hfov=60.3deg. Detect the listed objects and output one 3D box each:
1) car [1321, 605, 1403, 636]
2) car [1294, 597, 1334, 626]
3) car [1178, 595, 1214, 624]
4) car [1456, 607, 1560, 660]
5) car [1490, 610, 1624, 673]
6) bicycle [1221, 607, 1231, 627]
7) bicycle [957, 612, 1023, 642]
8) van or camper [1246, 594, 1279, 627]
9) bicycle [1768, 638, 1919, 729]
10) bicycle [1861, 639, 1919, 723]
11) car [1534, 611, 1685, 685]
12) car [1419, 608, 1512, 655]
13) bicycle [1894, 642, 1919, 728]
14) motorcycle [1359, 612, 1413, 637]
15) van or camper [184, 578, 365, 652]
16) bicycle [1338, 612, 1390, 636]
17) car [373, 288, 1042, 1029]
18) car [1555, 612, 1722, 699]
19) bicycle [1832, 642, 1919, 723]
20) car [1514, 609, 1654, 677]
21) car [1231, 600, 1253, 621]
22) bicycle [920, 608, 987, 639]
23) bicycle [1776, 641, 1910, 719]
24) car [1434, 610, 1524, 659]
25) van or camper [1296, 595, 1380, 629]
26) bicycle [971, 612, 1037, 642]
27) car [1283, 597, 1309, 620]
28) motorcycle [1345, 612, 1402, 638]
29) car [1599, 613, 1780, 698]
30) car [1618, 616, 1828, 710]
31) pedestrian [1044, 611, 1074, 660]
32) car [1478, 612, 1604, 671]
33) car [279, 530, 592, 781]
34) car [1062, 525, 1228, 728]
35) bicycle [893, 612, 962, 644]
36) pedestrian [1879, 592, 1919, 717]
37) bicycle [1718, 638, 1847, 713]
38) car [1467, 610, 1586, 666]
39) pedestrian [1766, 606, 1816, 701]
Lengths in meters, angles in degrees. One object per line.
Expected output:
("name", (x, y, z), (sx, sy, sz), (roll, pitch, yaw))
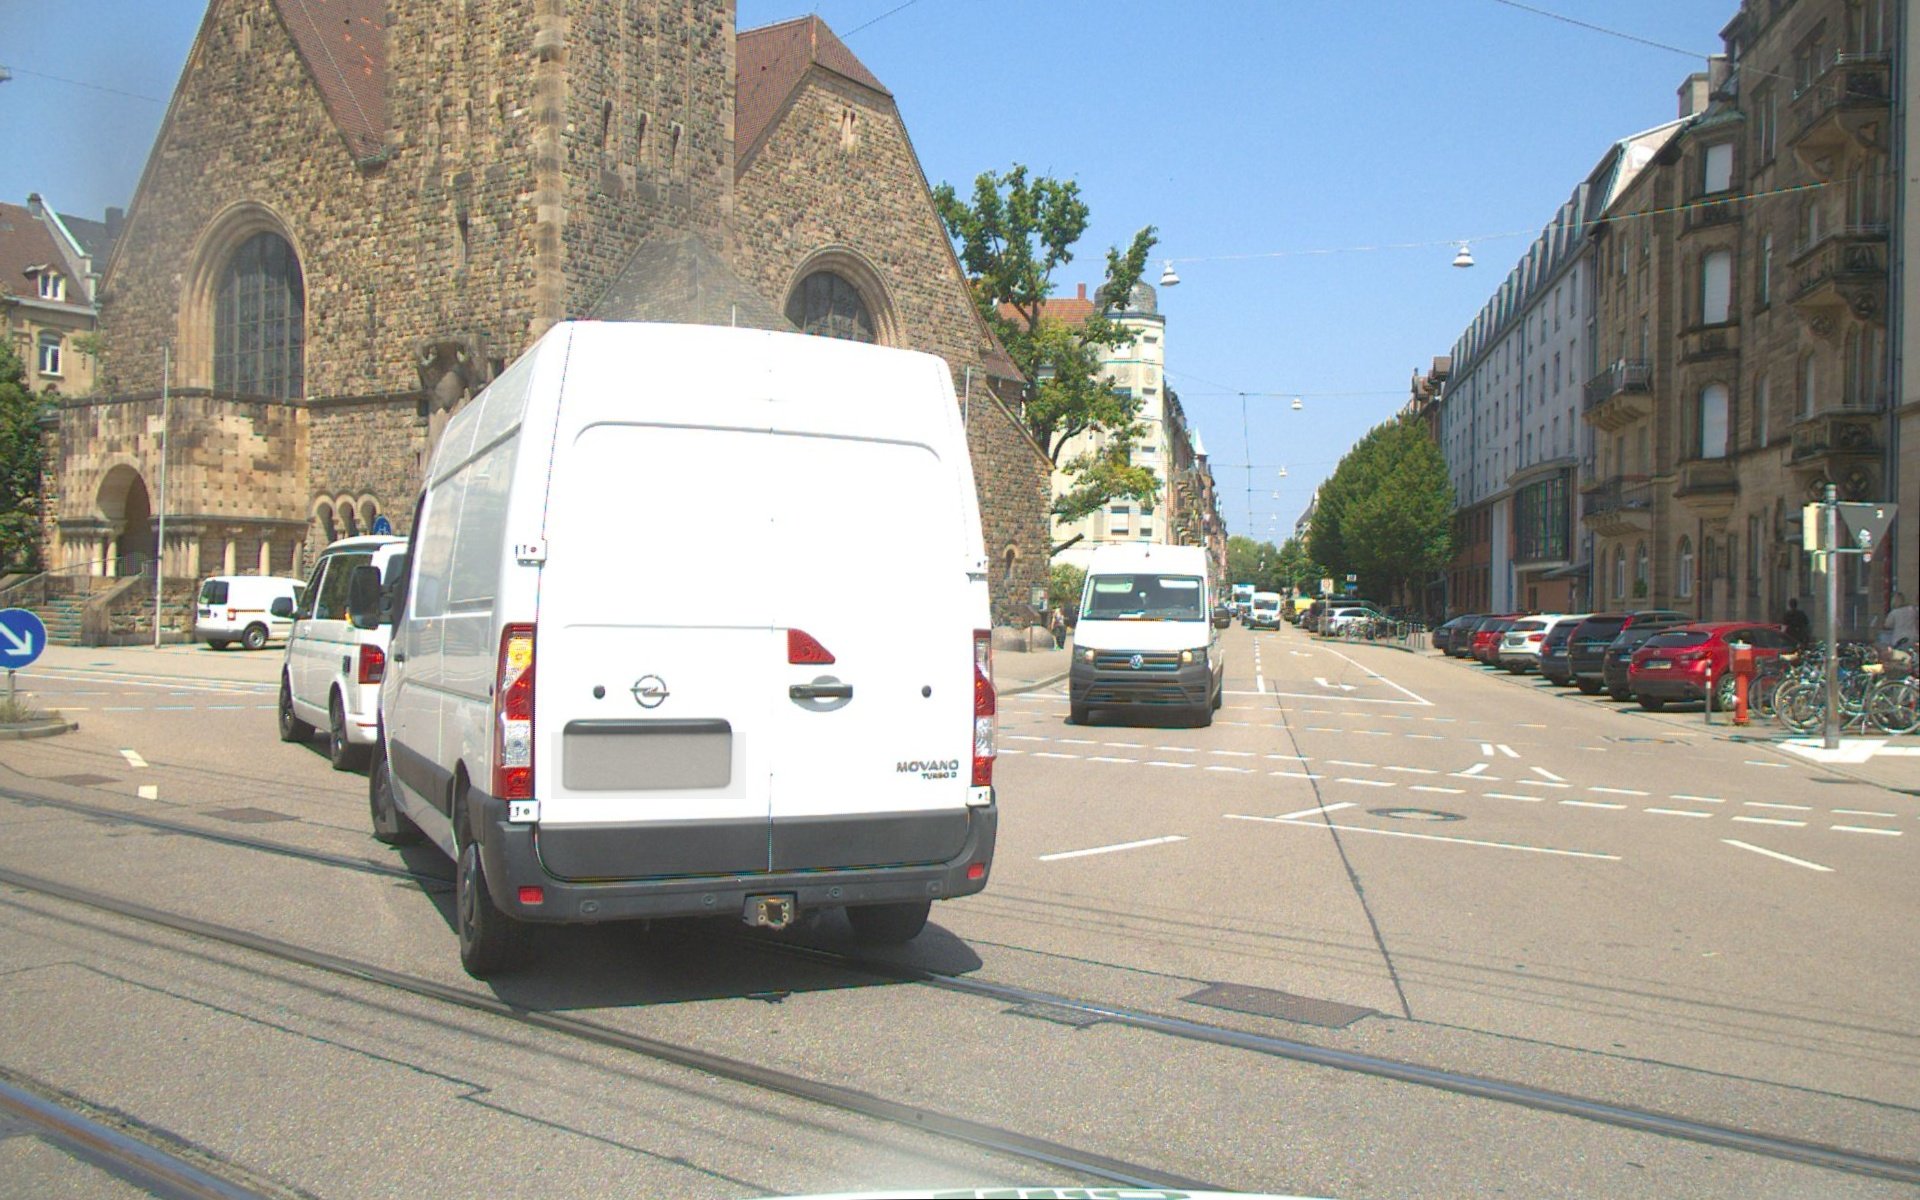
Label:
("car", (21.562, 1.080, 88.725), (3.918, 1.576, 1.744), (1, -1, -14))
("car", (22.532, 0.736, 105.339), (1.913, 1.780, 4.002), (1, 0, 3))
("car", (15.051, 0.608, 105.698), (1.913, 1.780, 4.002), (1, 0, 3))
("car", (17.815, 1.085, 53.732), (3.188, 1.603, 1.597), (-1, -2, -34))
("car", (16.026, 1.105, 44.392), (3.177, 1.603, 1.603), (-1, -2, -26))
("bicycle", (19.076, 1.188, 118.726), (0.658, 1.383, 2.071), (1, 0, 8))
("bicycle", (1.081, 0.973, 59.886), (2.449, 1.029, 0.703), (1, 0, 37))
("van or camper", (20.353, 0.679, 111.468), (1.992, 2.179, 4.583), (1, 0, 8))
("bicycle", (12.236, 1.134, 22.716), (2.012, 1.171, 0.565), (1, 0, 24))
("bicycle", (13.904, 1.152, 23.607), (1.763, 1.171, 0.565), (-1, -1, 24))
("car", (15.100, 1.103, 38.434), (3.181, 1.603, 1.601), (-1, -2, -30))
("car", (18.219, 1.114, 59.556), (3.190, 1.603, 1.596), (0, -2, -36))
("bicycle", (13.836, 1.157, 22.653), (1.763, 1.171, 0.565), (-1, -1, 24))
("motorcycle", (20.990, 1.203, 81.491), (2.535, 1.195, 0.683), (1, -1, 13))
("van or camper", (-17.883, 0.397, 43.312), (1.957, 1.839, 3.990), (0, -1, 32))
("bicycle", (20.768, 1.227, 84.967), (2.545, 1.195, 0.680), (1, -1, -13))
("car", (-1.643, 0.216, 8.325), (2.089, 2.502, 5.017), (1, -1, -24))
("car", (14.284, 1.149, 34.814), (3.181, 1.694, 1.601), (-1, -2, -30))
("bicycle", (13.953, 1.214, 24.510), (1.763, 1.171, 0.565), (-1, -1, 24))
("car", (15.679, 1.064, 41.553), (3.181, 1.603, 1.601), (-1, -2, -30))
("car", (27.792, 1.041, 162.838), (1.951, 2.049, 4.003), (1, -1, 12))
("bicycle", (-0.239, 0.827, 58.077), (2.449, 1.029, 0.703), (1, -1, 37))
("bicycle", (13.612, 1.217, 25.540), (1.763, 1.171, 0.565), (-1, -1, 24))
("car", (17.817, 1.177, 56.735), (3.197, 1.603, 1.474), (0, -2, -40))
("van or camper", (21.704, 0.667, 95.011), (4.243, 1.870, 1.991), (1, 0, -17))
("bicycle", (1.606, 0.977, 60.735), (2.449, 1.029, 0.703), (1, 0, 37))
("car", (29.785, 0.786, 146.521), (1.866, 2.049, 4.002), (0, -1, 16))
("motorcycle", (20.136, 1.209, 80.621), (2.652, 1.195, 0.776), (1, -1, 13))
("car", (14.056, 1.052, 31.871), (3.181, 1.505, 1.601), (-1, -2, -30))
("car", (13.322, 1.085, 28.892), (3.172, 1.505, 1.605), (-1, -2, -23))
("pedestrian", (3.243, 1.171, 54.160), (0.705, 1.586, 0.790), (0, -1, 28))
("car", (16.593, 1.179, 47.266), (3.175, 1.603, 1.604), (-1, -2, -25))
("car", (-4.993, 0.453, 15.347), (1.897, 1.978, 4.220), (1, -1, -30))
("car", (2.994, 0.344, 25.420), (2.026, 2.683, 6.639), (1, 0, 11))
("bicycle", (-1.121, 0.956, 56.592), (2.450, 1.029, 0.703), (1, 0, 38))
("pedestrian", (16.697, 0.949, 29.004), (0.846, 2.151, 1.101), (1, -1, 20))
("bicycle", (13.206, 1.210, 26.581), (1.761, 1.171, 0.565), (0, -1, 5))
("car", (17.164, 1.141, 50.108), (3.175, 1.603, 1.604), (-1, -2, -25))
("pedestrian", (18.410, 1.169, 36.662), (0.846, 2.049, 1.101), (1, -1, 20))
